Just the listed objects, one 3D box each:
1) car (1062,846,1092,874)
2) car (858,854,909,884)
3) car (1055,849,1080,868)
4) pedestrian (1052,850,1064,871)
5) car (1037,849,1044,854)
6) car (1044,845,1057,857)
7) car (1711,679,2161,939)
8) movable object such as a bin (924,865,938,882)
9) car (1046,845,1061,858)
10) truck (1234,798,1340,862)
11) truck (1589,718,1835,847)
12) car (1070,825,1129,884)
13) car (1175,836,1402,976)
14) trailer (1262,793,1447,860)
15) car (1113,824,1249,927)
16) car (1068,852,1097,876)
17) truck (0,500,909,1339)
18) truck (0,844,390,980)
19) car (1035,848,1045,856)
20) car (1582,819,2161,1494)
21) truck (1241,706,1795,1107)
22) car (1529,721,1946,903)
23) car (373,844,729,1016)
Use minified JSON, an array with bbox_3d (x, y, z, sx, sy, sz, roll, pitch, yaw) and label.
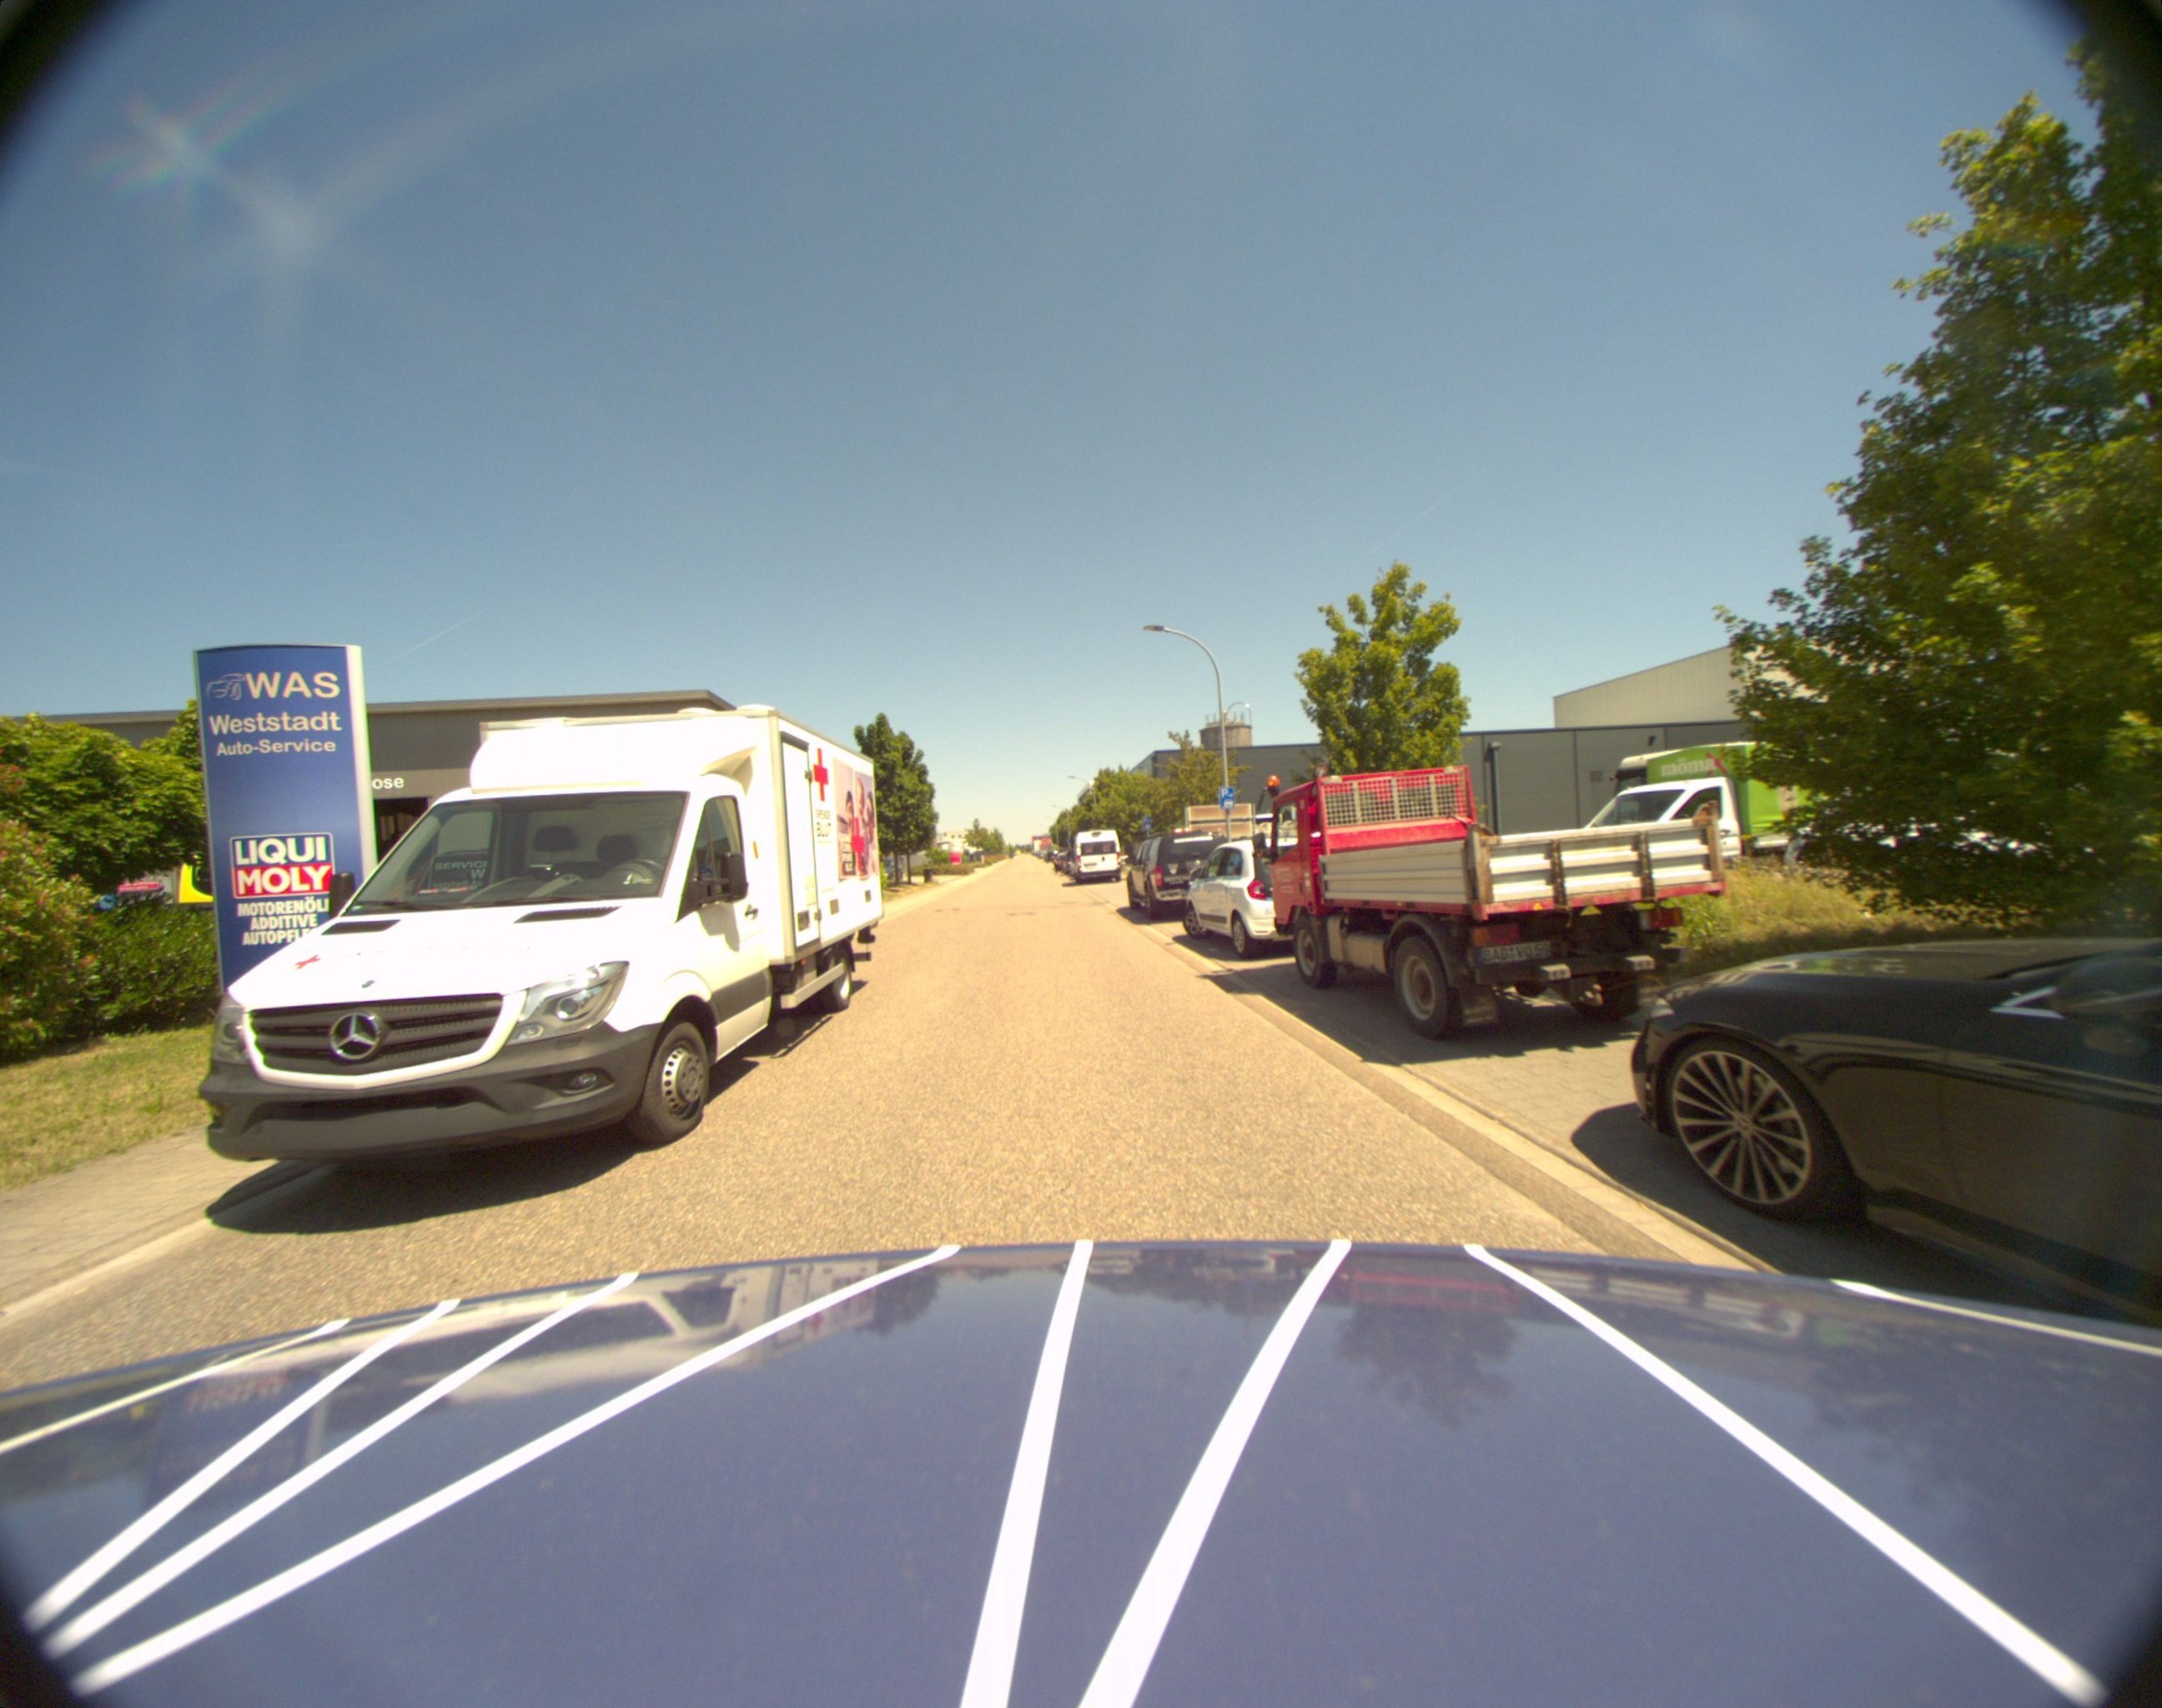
[{"bbox_3d":[-0.335,0.410,55.252,1.836,1.800,4.081,-5,1,-3],"label":"car"},{"bbox_3d":[-13.261,0.960,51.338,2.157,1.800,4.912,-2,1,-2],"label":"car"},{"bbox_3d":[-1.214,0.353,67.879,1.799,1.477,4.449,-5,1,-5],"label":"car"},{"bbox_3d":[-1.749,0.493,58.673,0.681,1.559,0.534,-4,1,-20],"label":"pedestrian"},{"bbox_3d":[-11.367,-0.794,213.847,1.799,1.319,3.829,-5,1,-5],"label":"car"},{"bbox_3d":[-4.897,-0.422,120.957,1.799,1.701,3.829,-5,1,-5],"label":"car"},{"bbox_3d":[12.704,-0.656,10.516,5.991,2.909,2.519,-4,1,-5],"label":"car"},{"bbox_3d":[-9.746,1.250,49.273,0.617,1.040,0.809,-3,1,8],"label":"movable object such as a bin"},{"bbox_3d":[-3.979,-0.358,110.274,1.799,1.638,3.829,-5,1,-5],"label":"car"},{"bbox_3d":[14.059,-1.636,51.940,6.056,3.948,3.152,-4,1,-16],"label":"truck"},{"bbox_3d":[22.291,-2.432,27.096,6.123,4.064,3.218,-3,1,-4],"label":"truck"},{"bbox_3d":[0.812,-0.008,38.575,2.329,2.584,6.082,-5,1,-3],"label":"car"},{"bbox_3d":[2.781,0.624,11.137,1.857,1.542,3.764,-5,1,-6],"label":"car"},{"bbox_3d":[19.255,-1.961,53.404,12.543,3.948,3.152,-4,1,-16],"label":"trailer"},{"bbox_3d":[2.117,0.416,17.832,1.979,1.890,5.399,-5,1,-4],"label":"car"},{"bbox_3d":[0.059,0.627,50.284,1.648,1.304,3.999,-5,1,-2],"label":"car"},{"bbox_3d":[-3.417,0.223,6.426,2.464,3.187,6.879,-3,1,-2],"label":"truck"},{"bbox_3d":[-18.343,1.095,15.616,5.950,2.357,2.180,-2,1,-3],"label":"truck"},{"bbox_3d":[-8.163,-0.364,151.643,1.799,1.319,3.829,-5,1,-5],"label":"car"},{"bbox_3d":[3.340,0.657,1.060,1.857,1.435,4.751,-4,1,-4],"label":"car"},{"bbox_3d":[3.107,0.284,6.797,1.857,2.210,4.643,-5,1,-5],"label":"truck"},{"bbox_3d":[12.369,-0.771,14.629,5.991,2.808,2.519,-4,1,-5],"label":"car"},{"bbox_3d":[-7.717,0.904,11.993,1.999,2.002,5.334,-3,1,-3],"label":"car"}]
